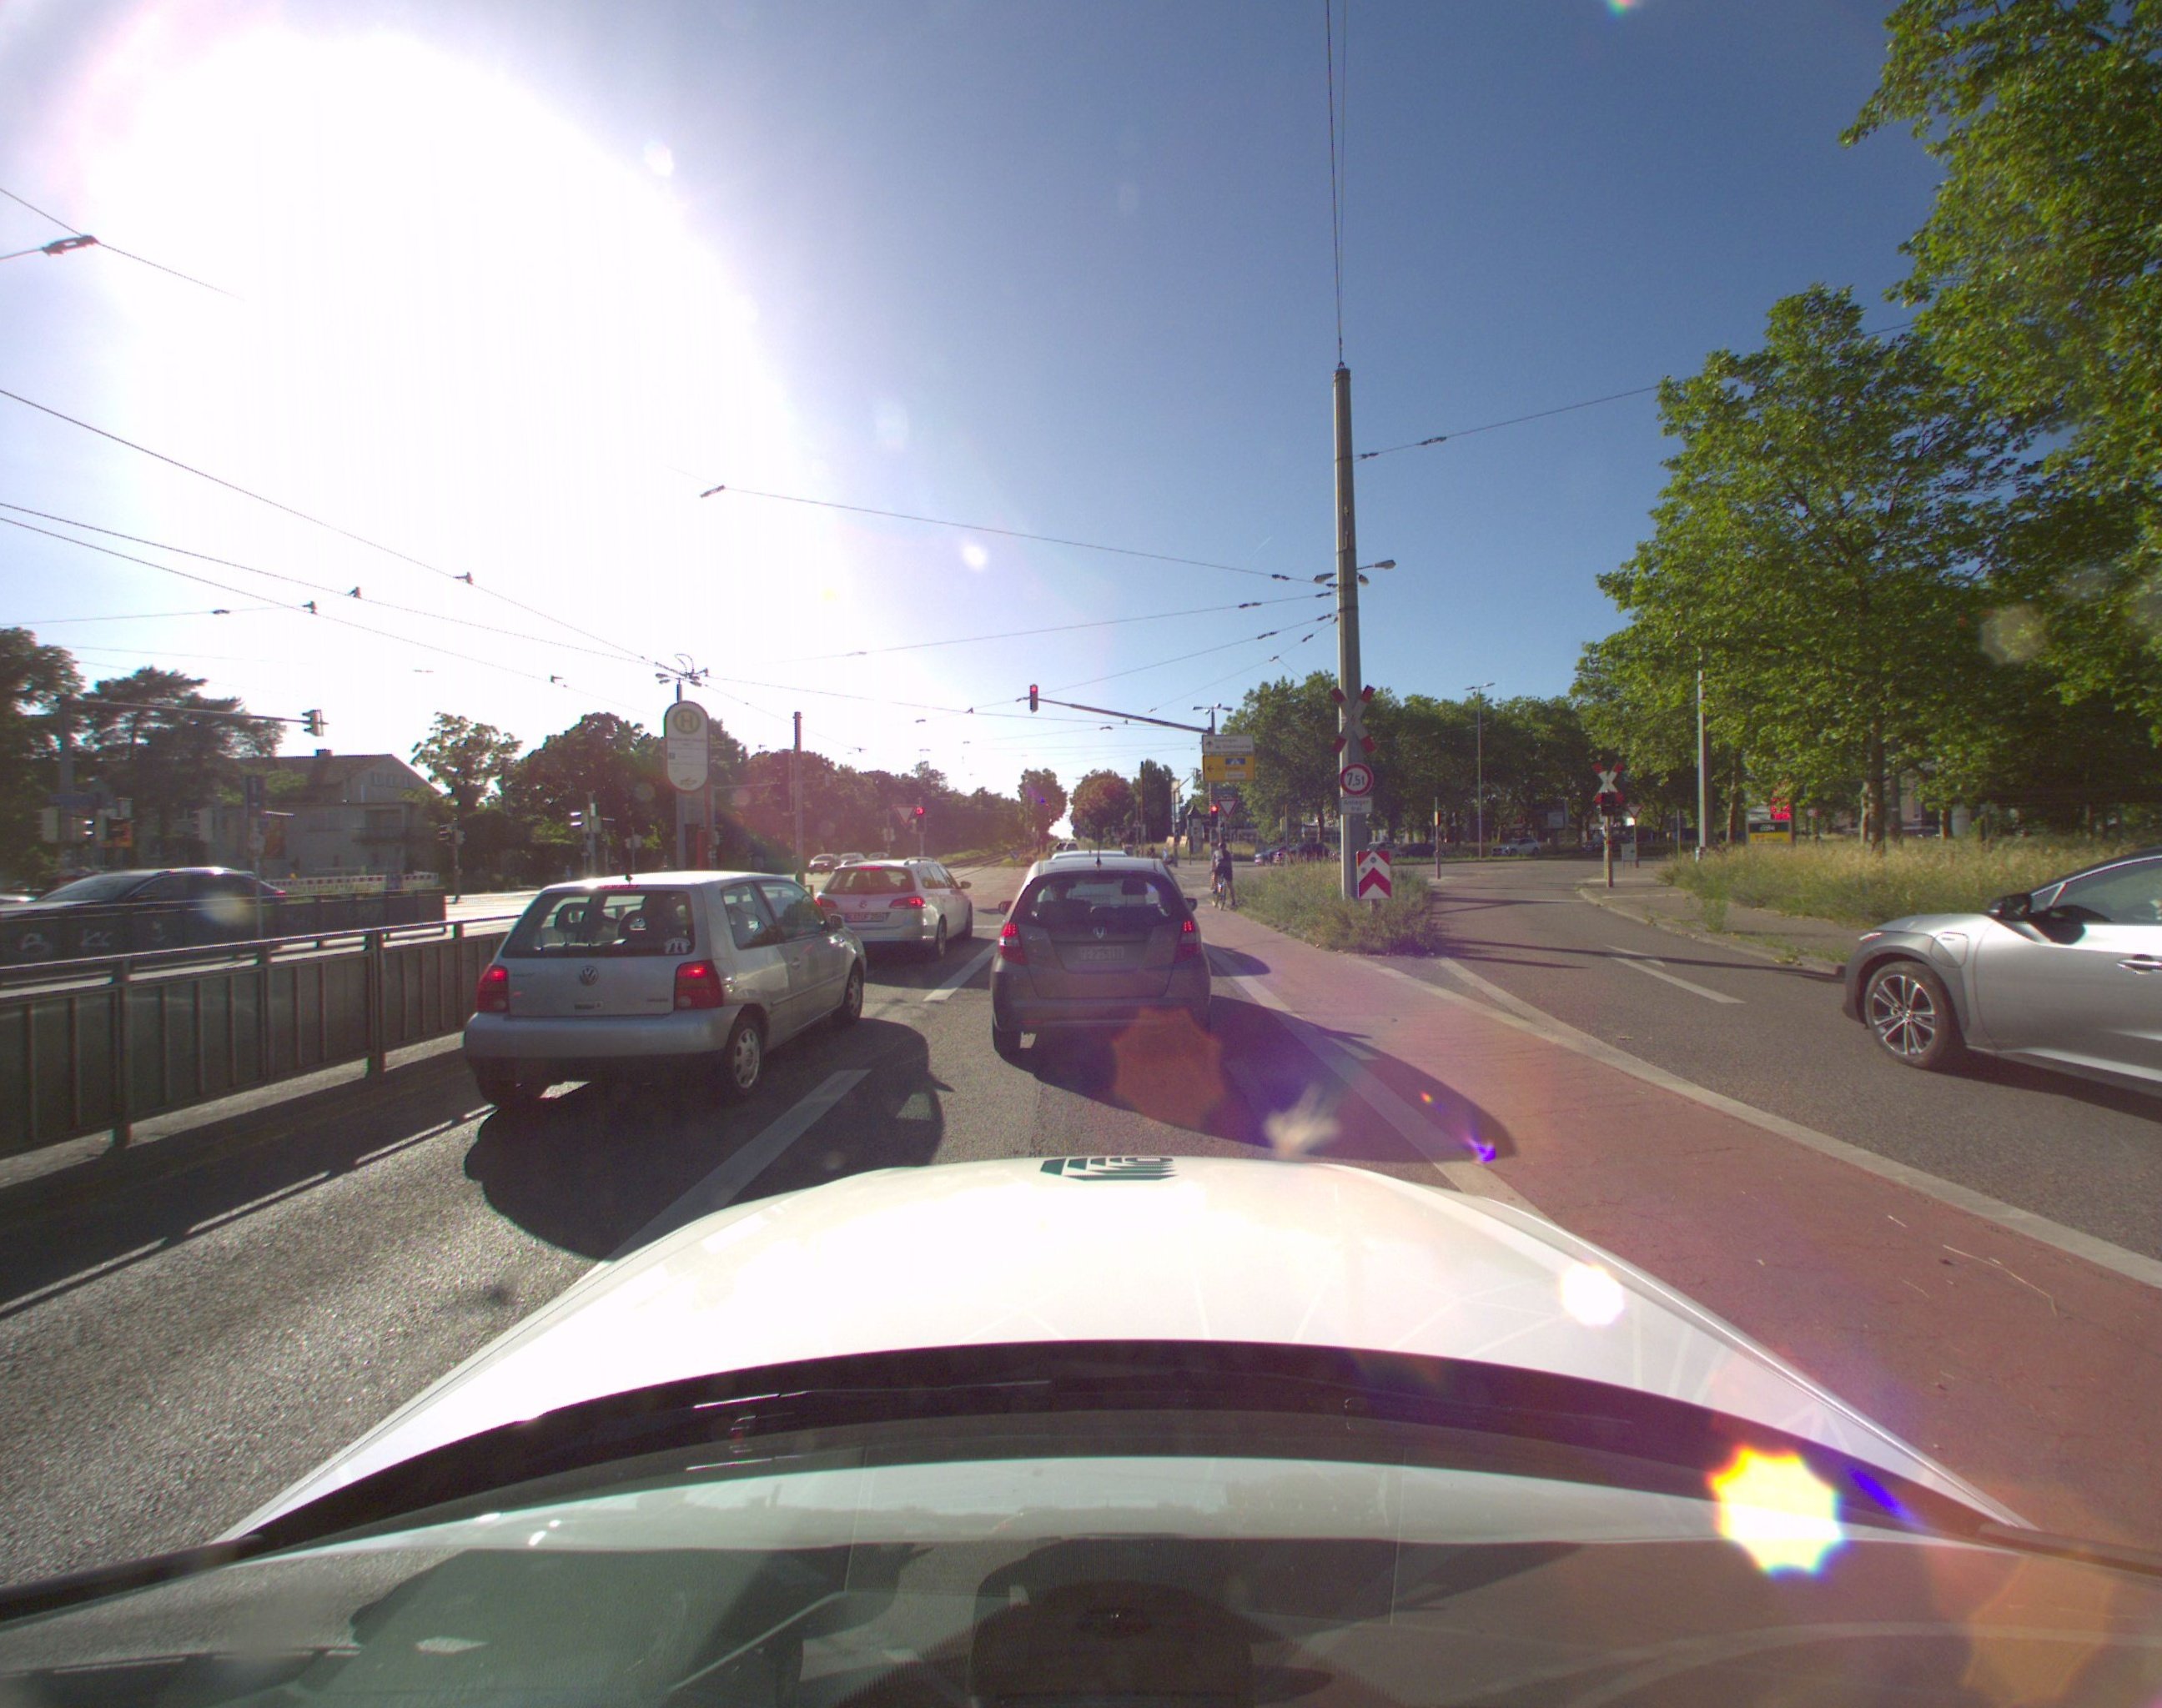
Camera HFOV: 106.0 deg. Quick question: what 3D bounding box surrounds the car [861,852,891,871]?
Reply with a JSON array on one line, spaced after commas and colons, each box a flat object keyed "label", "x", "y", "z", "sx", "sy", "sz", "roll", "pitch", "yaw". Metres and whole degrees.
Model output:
[{"label": "car", "x": -18.778, "y": 0.674, "z": 74.759, "sx": 1.991, "sy": 1.604, "sz": 4.745, "roll": 0, "pitch": 0, "yaw": -6}]

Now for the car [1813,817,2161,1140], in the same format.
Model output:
[{"label": "car", "x": 6.315, "y": 0.600, "z": 4.088, "sx": 1.755, "sy": 1.630, "sz": 4.510, "roll": -2, "pitch": 0, "yaw": 9}]

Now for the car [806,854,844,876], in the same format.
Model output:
[{"label": "car", "x": -19.015, "y": 0.810, "z": 60.710, "sx": 1.829, "sy": 1.548, "sz": 3.993, "roll": -2, "pitch": 0, "yaw": -5}]

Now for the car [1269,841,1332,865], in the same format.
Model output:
[{"label": "car", "x": 15.019, "y": -0.086, "z": 55.795, "sx": 4.002, "sy": 1.531, "sz": 1.594, "roll": -2, "pitch": 0, "yaw": -22}]

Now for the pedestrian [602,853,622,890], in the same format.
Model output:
[{"label": "pedestrian", "x": -26.523, "y": 0.981, "z": 46.064, "sx": 0.748, "sy": 2.013, "sz": 0.788, "roll": -2, "pitch": 0, "yaw": -11}]

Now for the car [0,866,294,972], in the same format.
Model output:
[{"label": "car", "x": -16.836, "y": 1.039, "z": 14.516, "sx": 1.581, "sy": 1.544, "sz": 3.986, "roll": -2, "pitch": 0, "yaw": 2}]

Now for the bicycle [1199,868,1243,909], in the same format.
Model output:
[{"label": "bicycle", "x": 3.632, "y": 0.866, "z": 21.306, "sx": 0.719, "sy": 0.989, "sz": 2.876, "roll": 0, "pitch": 0, "yaw": 1}]

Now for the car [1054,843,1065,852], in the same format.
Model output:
[{"label": "car", "x": -3.341, "y": -1.024, "z": 126.191, "sx": 1.520, "sy": 1.378, "sz": 3.670, "roll": -2, "pitch": 0, "yaw": -4}]

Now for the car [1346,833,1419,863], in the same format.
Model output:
[{"label": "car", "x": 21.958, "y": -0.448, "z": 59.252, "sx": 4.906, "sy": 2.013, "sz": 1.986, "roll": -2, "pitch": 0, "yaw": -22}]

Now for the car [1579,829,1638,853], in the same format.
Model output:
[{"label": "car", "x": 41.601, "y": -1.006, "z": 64.217, "sx": 4.218, "sy": 1.774, "sz": 1.842, "roll": -2, "pitch": 0, "yaw": -23}]

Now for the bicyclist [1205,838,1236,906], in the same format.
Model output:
[{"label": "bicyclist", "x": 3.631, "y": 0.459, "z": 21.229, "sx": 0.663, "sy": 1.716, "sz": 0.948, "roll": 0, "pitch": -1, "yaw": 1}]

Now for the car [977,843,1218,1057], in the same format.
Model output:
[{"label": "car", "x": 0.107, "y": 0.670, "z": 7.496, "sx": 1.663, "sy": 1.462, "sz": 3.585, "roll": -1, "pitch": 0, "yaw": -1}]

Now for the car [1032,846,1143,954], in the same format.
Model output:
[{"label": "car", "x": 0.145, "y": 0.679, "z": 14.136, "sx": 1.605, "sy": 1.562, "sz": 4.289, "roll": -1, "pitch": 0, "yaw": 1}]

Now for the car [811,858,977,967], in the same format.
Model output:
[{"label": "car", "x": -2.778, "y": 0.798, "z": 12.986, "sx": 1.613, "sy": 1.457, "sz": 4.086, "roll": -1, "pitch": 0, "yaw": 1}]

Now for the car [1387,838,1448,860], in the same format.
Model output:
[{"label": "car", "x": 26.887, "y": -0.413, "z": 65.053, "sx": 4.526, "sy": 1.574, "sz": 1.681, "roll": -2, "pitch": 0, "yaw": -21}]

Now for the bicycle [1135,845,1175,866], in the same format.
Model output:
[{"label": "bicycle", "x": 5.701, "y": 0.116, "z": 62.798, "sx": 3.226, "sy": 1.574, "sz": 0.813, "roll": -2, "pitch": 0, "yaw": -32}]

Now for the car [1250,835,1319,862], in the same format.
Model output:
[{"label": "car", "x": 15.030, "y": -0.376, "z": 60.087, "sx": 4.705, "sy": 1.879, "sz": 1.986, "roll": 0, "pitch": -1, "yaw": -22}]

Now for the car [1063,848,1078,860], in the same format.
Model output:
[{"label": "car", "x": -1.392, "y": 0.040, "z": 108.255, "sx": 1.707, "sy": 1.478, "sz": 3.993, "roll": -2, "pitch": 0, "yaw": -5}]

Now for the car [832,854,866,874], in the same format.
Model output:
[{"label": "car", "x": -18.913, "y": 0.818, "z": 66.503, "sx": 1.829, "sy": 1.548, "sz": 4.277, "roll": -2, "pitch": 0, "yaw": -5}]

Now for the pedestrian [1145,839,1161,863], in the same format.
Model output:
[{"label": "pedestrian", "x": 5.552, "y": -0.250, "z": 62.767, "sx": 0.858, "sy": 1.836, "sz": 0.783, "roll": -2, "pitch": 0, "yaw": -32}]

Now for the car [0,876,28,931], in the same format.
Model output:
[{"label": "car", "x": -32.026, "y": 1.440, "z": 21.503, "sx": 4.844, "sy": 1.497, "sz": 1.771, "roll": -2, "pitch": 0, "yaw": -25}]

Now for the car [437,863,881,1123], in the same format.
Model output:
[{"label": "car", "x": -2.829, "y": 0.816, "z": 6.339, "sx": 1.613, "sy": 1.417, "sz": 3.352, "roll": -2, "pitch": 0, "yaw": 1}]

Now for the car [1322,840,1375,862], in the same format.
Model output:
[{"label": "car", "x": 20.614, "y": -0.263, "z": 62.746, "sx": 3.757, "sy": 1.570, "sz": 1.480, "roll": -2, "pitch": 0, "yaw": -21}]

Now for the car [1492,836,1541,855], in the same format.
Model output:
[{"label": "car", "x": 37.231, "y": -0.725, "z": 69.596, "sx": 4.004, "sy": 1.501, "sz": 1.581, "roll": -2, "pitch": 0, "yaw": -23}]
